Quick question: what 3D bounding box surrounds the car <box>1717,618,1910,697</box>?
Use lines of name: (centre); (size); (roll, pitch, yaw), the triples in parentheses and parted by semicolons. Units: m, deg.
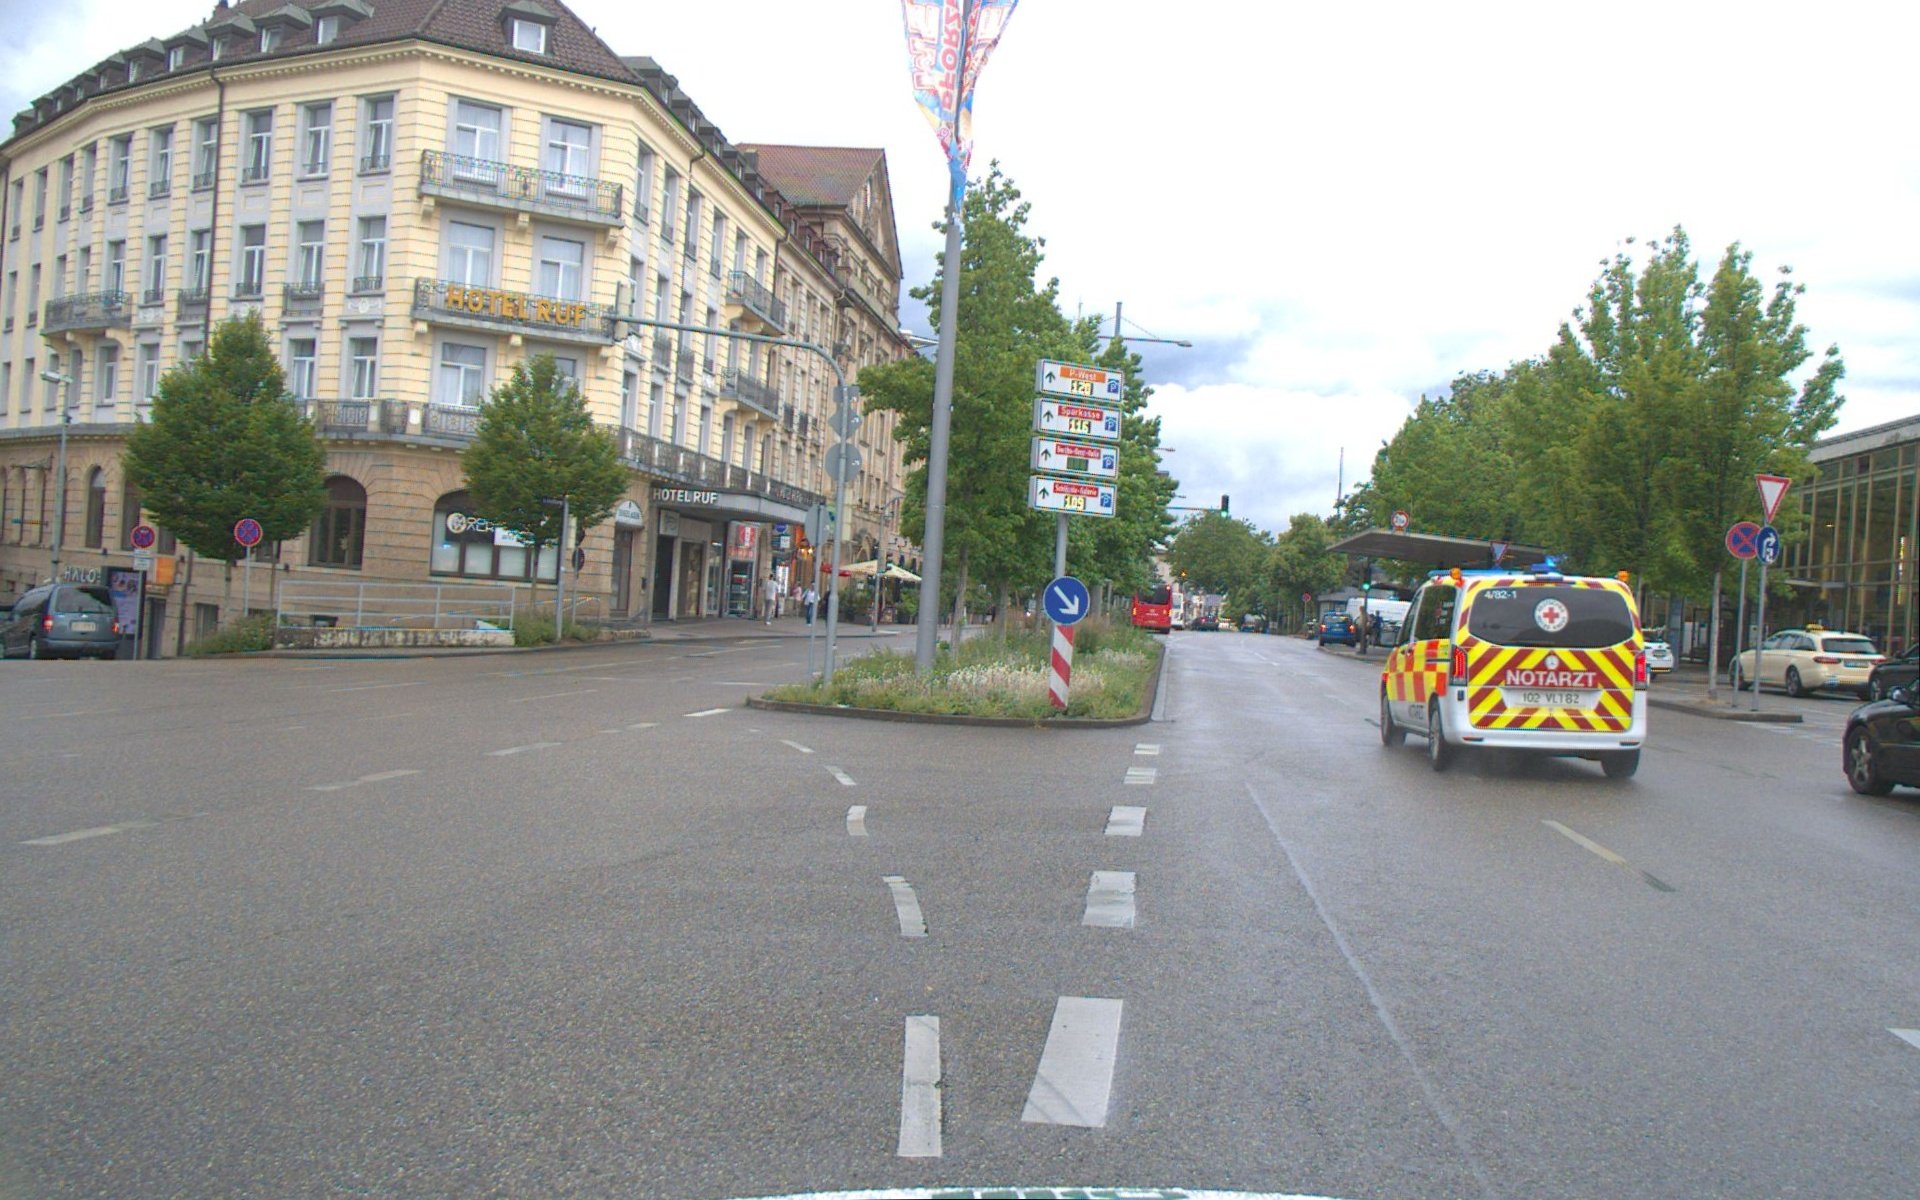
car: (19.731, 1.274, 38.517); (1.953, 1.627, 4.958); (1, 0, 0)

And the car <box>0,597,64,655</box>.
car: (-25.516, 0.668, 44.495); (1.621, 1.422, 3.940); (2, 0, -41)

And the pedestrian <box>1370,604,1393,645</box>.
pedestrian: (19.272, 1.128, 75.678); (0.838, 1.867, 1.191); (2, -1, 8)

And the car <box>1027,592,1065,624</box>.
car: (5.881, 0.570, 112.616); (1.951, 2.049, 5.005); (1, -1, 9)

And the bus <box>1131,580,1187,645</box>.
bus: (13.337, 0.864, 110.711); (3.469, 4.049, 11.179); (1, -1, 7)

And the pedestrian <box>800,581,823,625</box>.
pedestrian: (-5.766, 0.115, 64.160); (0.667, 1.693, 0.807); (1, -1, 11)

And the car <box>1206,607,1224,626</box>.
car: (28.161, 1.787, 182.752); (1.951, 2.049, 4.003); (1, -1, 8)

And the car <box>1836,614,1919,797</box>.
car: (8.619, 0.871, 12.935); (1.658, 1.491, 4.455); (1, -1, 7)

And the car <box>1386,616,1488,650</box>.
car: (21.968, 1.509, 76.232); (4.111, 1.348, 1.835); (3, -1, -12)

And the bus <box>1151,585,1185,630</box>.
bus: (18.702, 0.691, 148.916); (2.746, 3.812, 10.452); (2, 0, 6)

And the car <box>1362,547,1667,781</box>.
car: (5.565, 0.590, 17.313); (1.951, 2.049, 5.065); (1, -1, 6)

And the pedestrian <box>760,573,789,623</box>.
pedestrian: (-6.814, -0.069, 60.843); (0.860, 1.844, 0.751); (1, -1, 8)

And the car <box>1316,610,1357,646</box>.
car: (18.163, 1.366, 79.920); (1.819, 1.596, 4.003); (2, -1, 12)

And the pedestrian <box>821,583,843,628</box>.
pedestrian: (-4.967, 0.215, 64.109); (0.667, 1.693, 0.807); (1, -1, 8)

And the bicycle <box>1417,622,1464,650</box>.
bicycle: (19.099, 1.426, 65.734); (1.794, 1.074, 0.419); (1, -1, -10)

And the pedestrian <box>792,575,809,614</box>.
pedestrian: (-7.004, -0.220, 72.593); (0.653, 1.693, 0.536); (1, -1, -1)

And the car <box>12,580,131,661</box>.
car: (-21.350, 0.461, 39.677); (1.621, 1.790, 3.940); (2, 0, -41)

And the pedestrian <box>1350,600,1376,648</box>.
pedestrian: (15.091, 0.907, 61.992); (0.731, 1.777, 0.836); (2, -1, 0)

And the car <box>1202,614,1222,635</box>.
car: (25.508, 2.504, 167.644); (1.951, 2.049, 4.003); (1, -1, 8)

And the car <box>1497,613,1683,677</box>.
car: (17.250, 1.200, 45.540); (1.740, 1.573, 4.726); (3, -1, -31)

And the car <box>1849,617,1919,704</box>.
car: (19.365, 1.213, 32.140); (1.951, 1.627, 4.962); (3, 0, 7)

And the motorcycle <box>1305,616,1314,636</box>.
motorcycle: (24.026, 1.794, 113.688); (0.582, 1.310, 1.955); (1, 0, 13)

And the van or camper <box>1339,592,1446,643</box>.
van or camper: (25.234, 1.023, 96.463); (5.857, 2.811, 2.186); (1, -1, -19)

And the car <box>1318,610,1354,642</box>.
car: (19.476, 1.355, 85.756); (1.749, 1.549, 3.684); (2, -1, 13)

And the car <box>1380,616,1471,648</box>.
car: (22.487, 1.550, 79.864); (3.932, 1.383, 1.852); (3, -1, -23)

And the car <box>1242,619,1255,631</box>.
car: (40.125, 3.508, 230.012); (1.561, 1.588, 3.653); (1, -1, 8)
